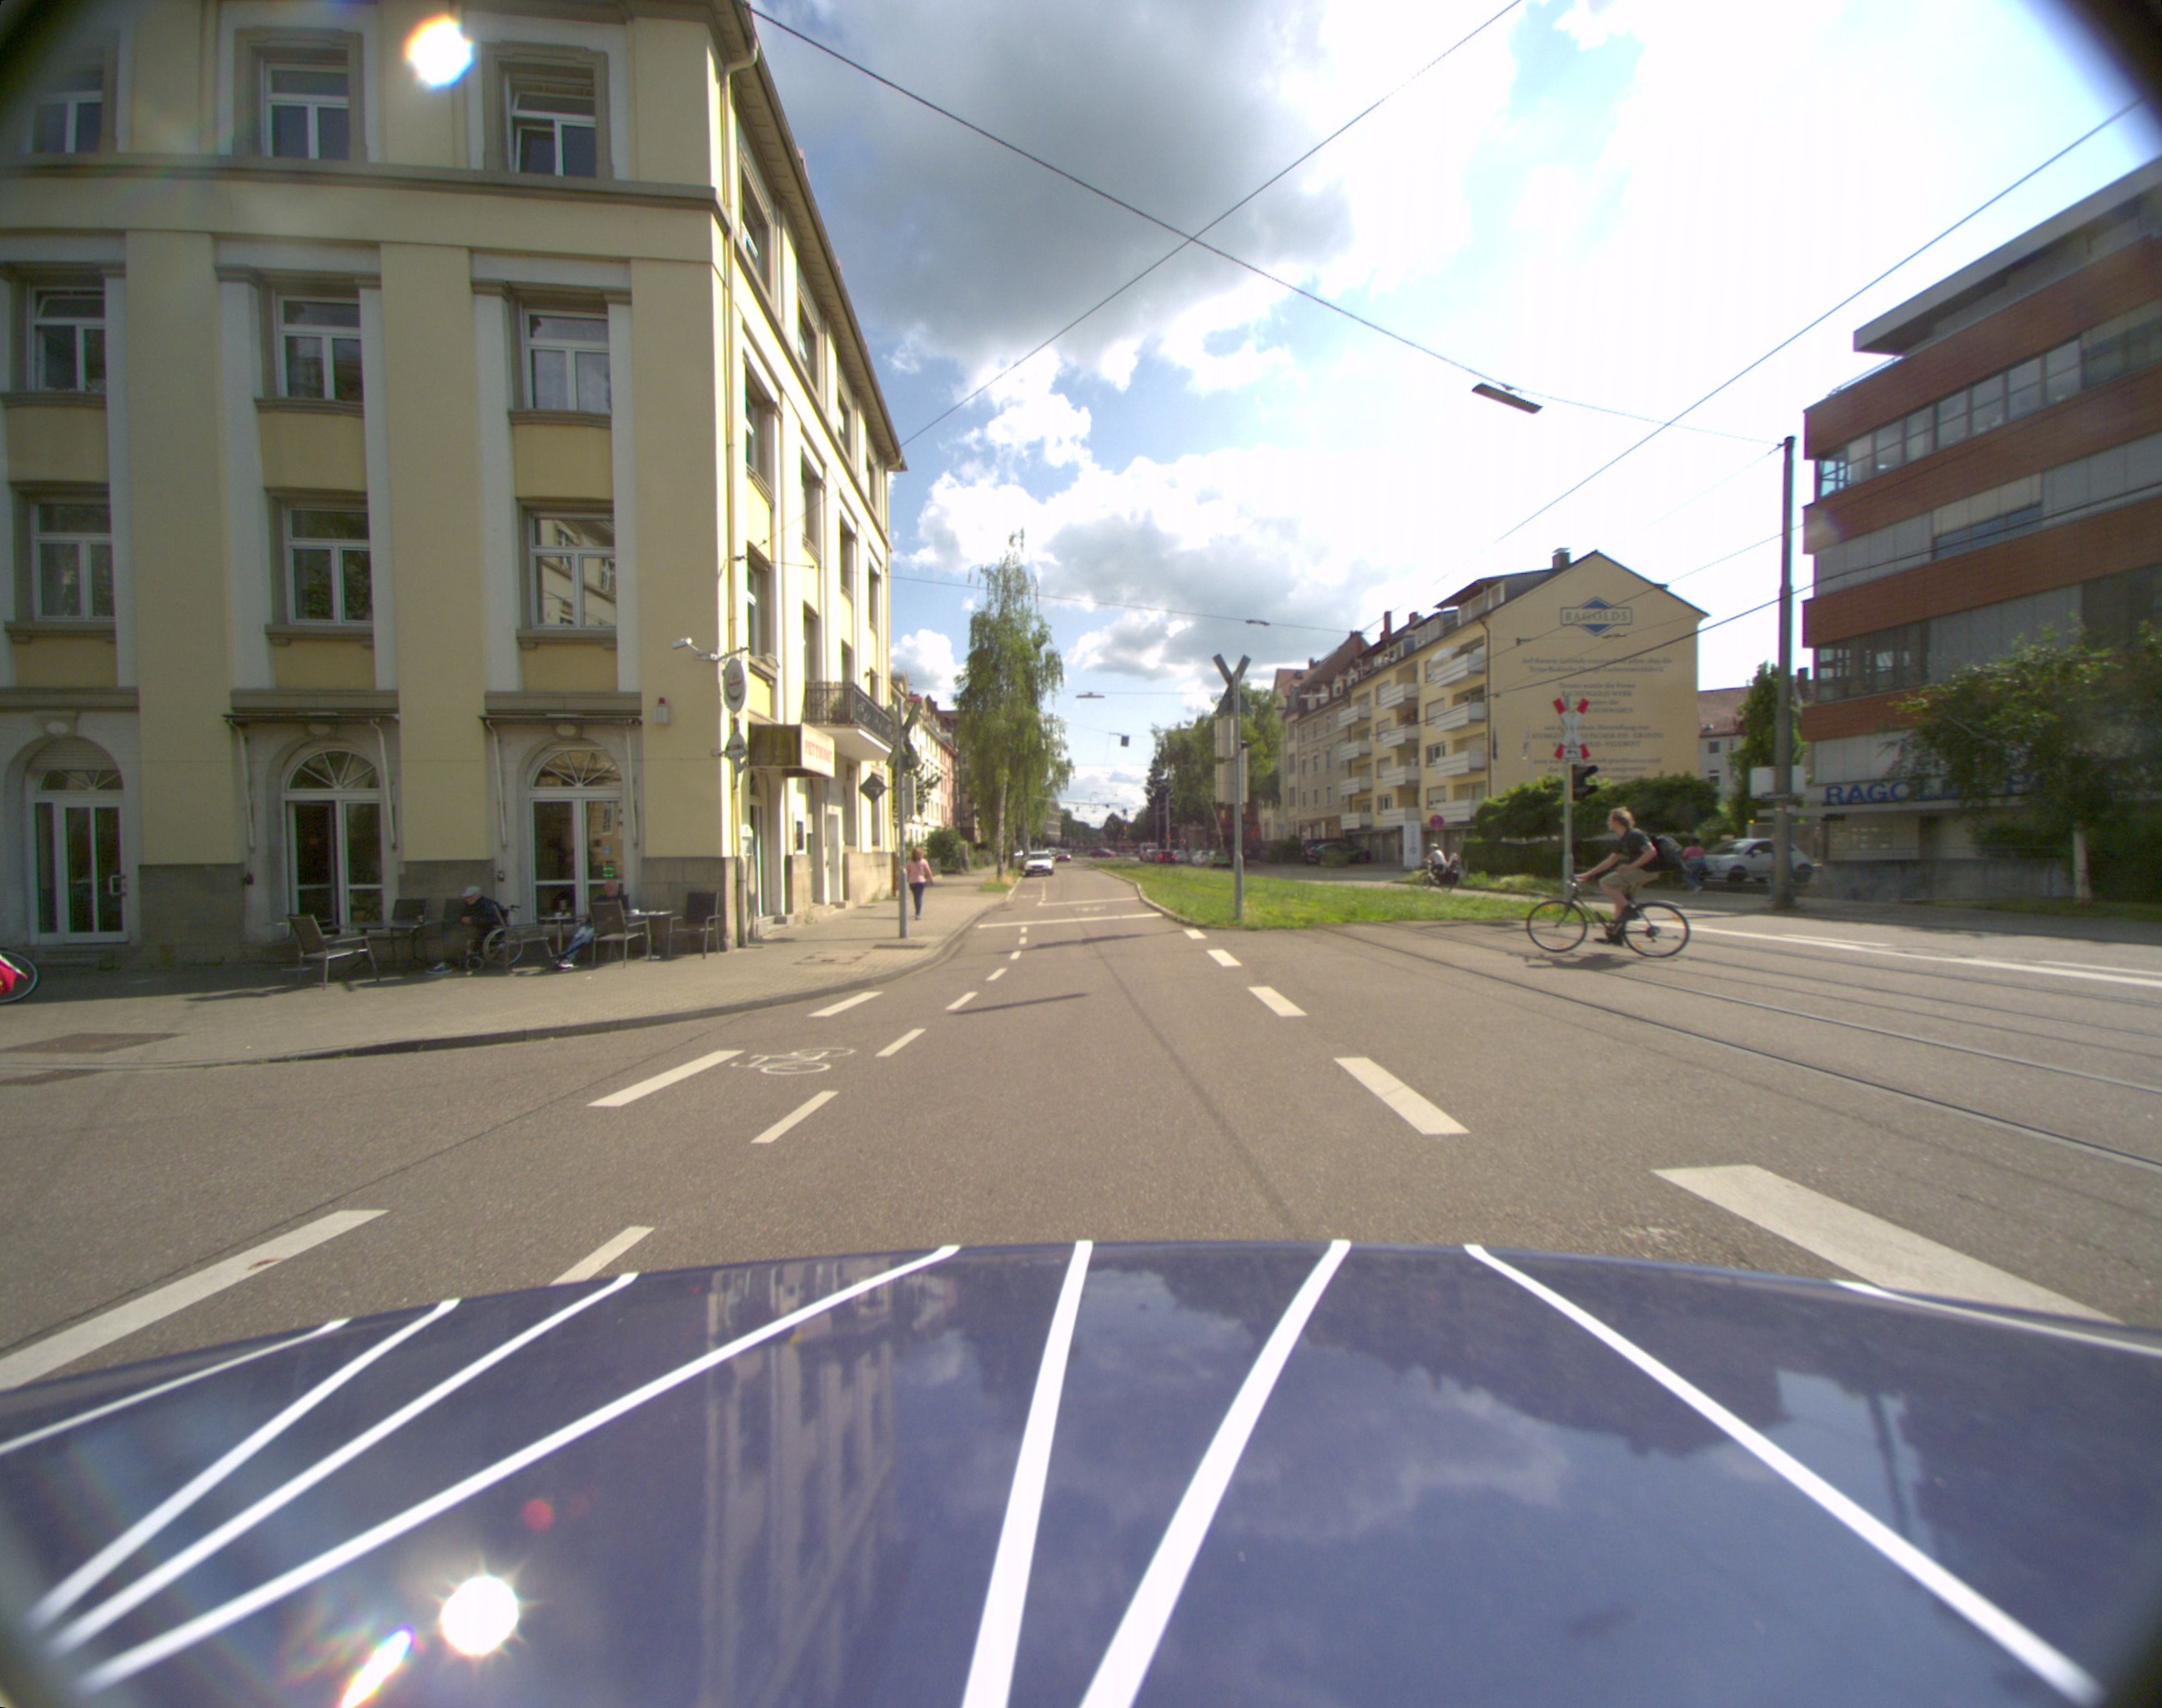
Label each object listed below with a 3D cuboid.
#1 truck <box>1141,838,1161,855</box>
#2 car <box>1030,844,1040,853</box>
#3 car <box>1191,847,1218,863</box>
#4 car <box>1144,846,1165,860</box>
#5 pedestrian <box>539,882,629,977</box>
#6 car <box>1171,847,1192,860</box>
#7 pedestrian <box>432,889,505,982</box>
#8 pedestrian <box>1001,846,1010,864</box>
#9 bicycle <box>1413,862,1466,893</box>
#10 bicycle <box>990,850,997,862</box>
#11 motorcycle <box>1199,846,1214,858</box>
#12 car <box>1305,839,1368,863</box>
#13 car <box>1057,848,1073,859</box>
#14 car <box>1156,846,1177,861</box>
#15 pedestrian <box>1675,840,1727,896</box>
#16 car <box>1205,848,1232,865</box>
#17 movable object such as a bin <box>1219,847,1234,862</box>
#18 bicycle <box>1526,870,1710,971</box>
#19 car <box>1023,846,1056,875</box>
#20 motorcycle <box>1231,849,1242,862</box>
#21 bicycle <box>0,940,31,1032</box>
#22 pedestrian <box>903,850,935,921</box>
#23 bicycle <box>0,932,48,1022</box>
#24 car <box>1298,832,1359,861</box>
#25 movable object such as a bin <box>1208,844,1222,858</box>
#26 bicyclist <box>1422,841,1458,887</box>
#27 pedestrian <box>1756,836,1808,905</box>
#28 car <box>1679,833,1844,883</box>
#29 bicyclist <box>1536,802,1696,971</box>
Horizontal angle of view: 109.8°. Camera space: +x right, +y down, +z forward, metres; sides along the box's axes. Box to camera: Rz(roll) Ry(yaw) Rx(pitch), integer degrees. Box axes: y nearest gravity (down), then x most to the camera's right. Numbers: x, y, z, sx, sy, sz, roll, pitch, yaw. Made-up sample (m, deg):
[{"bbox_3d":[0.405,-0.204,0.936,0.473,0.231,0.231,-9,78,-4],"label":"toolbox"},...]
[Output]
[{"bbox_3d":[9.085,-0.982,99.192,2.190,2.202,6.612,0,1,2],"label":"truck"},{"bbox_3d":[-10.064,-1.210,166.057,1.999,1.730,3.998,-1,1,-4],"label":"car"},{"bbox_3d":[11.363,0.057,70.147,1.649,1.469,4.224,1,1,-2],"label":"car"},{"bbox_3d":[8.048,-0.117,83.406,1.759,1.348,4.511,1,1,-1],"label":"car"},{"bbox_3d":[-7.543,1.108,11.588,0.536,1.262,1.303,-2,3,-6],"label":"pedestrian"},{"bbox_3d":[10.989,-0.113,83.483,1.759,1.348,3.994,0,1,-1],"label":"car"},{"bbox_3d":[-8.884,1.165,11.040,0.536,1.261,0.661,0,1,-6],"label":"pedestrian"},{"bbox_3d":[-6.921,0.106,70.032,0.731,1.673,0.691,1,1,1],"label":"pedestrian"},{"bbox_3d":[12.443,0.792,26.454,0.682,0.965,2.177,0,1,-5],"label":"bicycle"},{"bbox_3d":[-8.480,0.203,73.789,0.473,1.071,2.182,-1,1,-1],"label":"bicycle"},{"bbox_3d":[13.317,-0.235,80.643,0.903,1.235,2.292,-1,1,-8],"label":"motorcycle"},{"bbox_3d":[18.939,-0.237,56.459,3.998,1.593,1.972,-3,1,-2],"label":"car"},{"bbox_3d":[-1.948,-0.082,93.713,1.741,1.313,3.999,-3,1,1],"label":"car"},{"bbox_3d":[8.540,-0.064,76.075,1.583,1.379,3.691,0,1,-2],"label":"car"},{"bbox_3d":[17.834,0.397,21.878,0.747,1.565,0.889,0,1,0],"label":"pedestrian"},{"bbox_3d":[11.713,0.166,64.930,1.598,1.424,3.613,0,1,-2],"label":"car"},{"bbox_3d":[13.683,0.036,71.338,0.953,1.421,1.521,-3,1,-3],"label":"movable object such as a bin"},{"bbox_3d":[6.870,0.811,9.876,1.783,1.171,1.160,-1,0,25],"label":"bicycle"},{"bbox_3d":[-2.567,0.388,47.573,1.725,1.620,3.999,-3,1,0],"label":"car"},{"bbox_3d":[13.731,0.119,66.932,0.500,1.037,1.631,-4,2,-3],"label":"motorcycle"},{"bbox_3d":[-12.538,1.460,8.141,1.652,0.963,0.584,-1,3,-1],"label":"bicycle"},{"bbox_3d":[-3.838,0.747,18.040,0.674,1.638,0.763,1,-1,-10],"label":"pedestrian"},{"bbox_3d":[-13.075,1.415,8.672,1.652,0.963,0.584,0,3,-1],"label":"bicycle"},{"bbox_3d":[19.234,-0.567,59.152,3.997,2.002,1.937,-3,1,1],"label":"car"},{"bbox_3d":[13.728,-0.328,77.880,0.953,1.359,1.521,-6,1,-3],"label":"movable object such as a bin"},{"bbox_3d":[12.417,0.344,26.274,0.787,1.573,0.863,0,1,-5],"label":"bicyclist"},{"bbox_3d":[17.187,0.387,18.639,0.558,1.647,0.746,-1,2,0],"label":"pedestrian"},{"bbox_3d":[23.057,0.114,25.843,3.999,1.587,1.999,-1,1,-5],"label":"car"},{"bbox_3d":[6.838,0.381,9.832,1.572,2.002,0.952,0,1,29],"label":"bicyclist"}]
